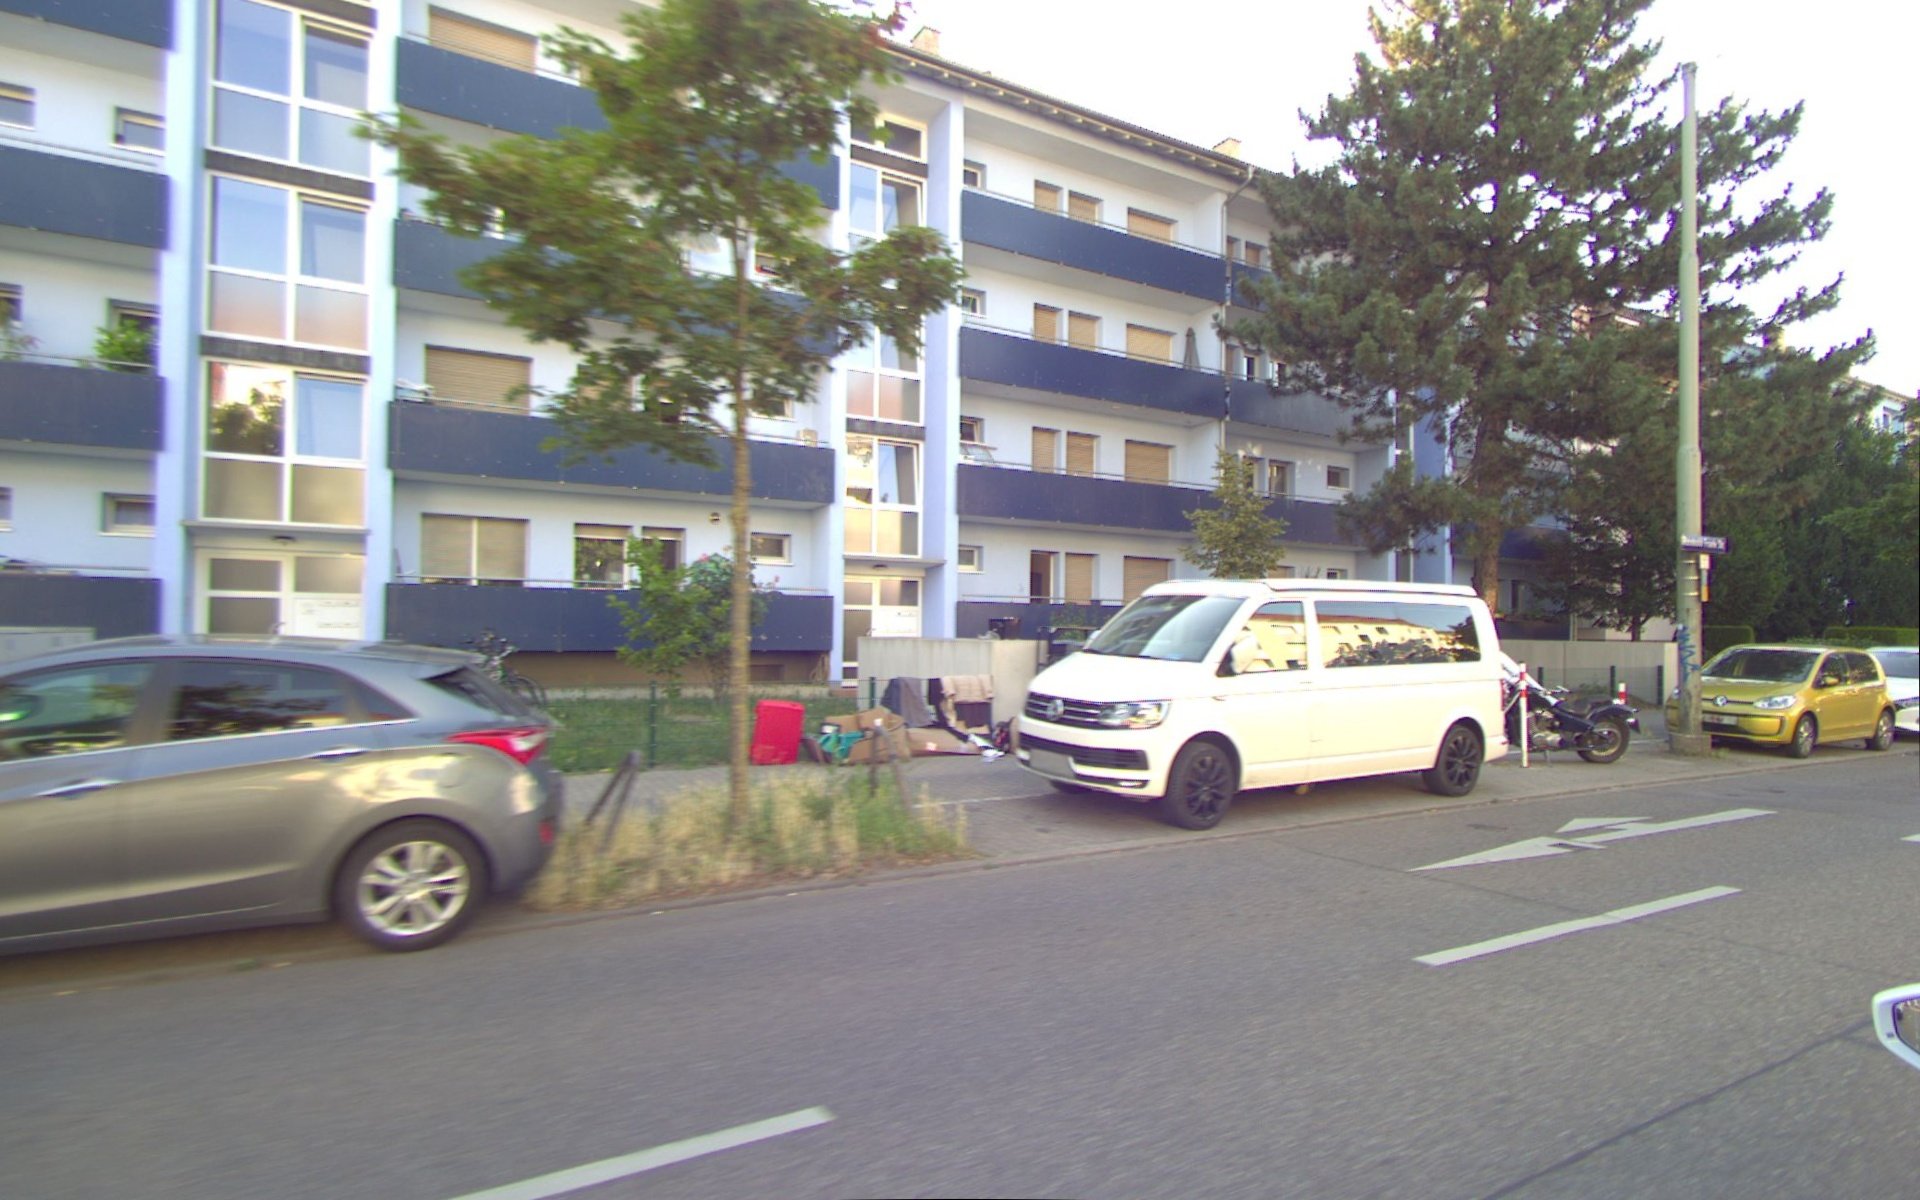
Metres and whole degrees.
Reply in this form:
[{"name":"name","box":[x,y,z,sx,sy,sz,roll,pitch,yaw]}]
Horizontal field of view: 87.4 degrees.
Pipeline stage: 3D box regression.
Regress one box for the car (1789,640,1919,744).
[{"name":"car","box":[16.094,1.492,17.028,3.921,1.514,1.774,2,0,-28]}]

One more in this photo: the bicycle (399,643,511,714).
[{"name":"bicycle","box":[-7.571,1.161,15.086,1.459,1.028,0.436,1,-2,-29]}]

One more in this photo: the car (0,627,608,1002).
[{"name":"car","box":[-4.020,0.904,4.984,4.091,1.503,1.686,1,-1,-28]}]

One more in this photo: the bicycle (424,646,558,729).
[{"name":"bicycle","box":[-6.122,1.123,13.152,1.554,1.028,0.436,1,-2,-29]}]

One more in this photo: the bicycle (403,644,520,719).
[{"name":"bicycle","box":[-7.127,1.142,14.380,1.463,1.028,0.436,1,-2,-29]}]

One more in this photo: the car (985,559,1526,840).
[{"name":"car","box":[2.947,0.789,9.501,5.240,2.058,1.859,2,-1,-31]}]

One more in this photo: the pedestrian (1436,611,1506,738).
[{"name":"pedestrian","box":[7.473,1.064,14.689,0.687,1.793,0.658,1,-1,-30]}]

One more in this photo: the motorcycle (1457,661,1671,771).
[{"name":"motorcycle","box":[7.205,1.357,12.006,2.289,1.220,0.660,0,-2,-9]}]

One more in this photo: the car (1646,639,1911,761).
[{"name":"car","box":[11.881,1.364,14.542,3.823,1.500,1.612,2,0,-28]}]

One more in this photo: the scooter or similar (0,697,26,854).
[{"name":"scooter or similar","box":[-7.201,1.178,6.524,1.568,1.028,0.462,1,-2,-26]}]

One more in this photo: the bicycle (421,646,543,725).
[{"name":"bicycle","box":[-6.490,1.142,13.668,1.459,1.028,0.436,1,-2,-29]}]

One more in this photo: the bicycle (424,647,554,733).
[{"name":"bicycle","box":[-5.950,1.118,12.725,1.459,1.028,0.436,1,-2,-29]}]
